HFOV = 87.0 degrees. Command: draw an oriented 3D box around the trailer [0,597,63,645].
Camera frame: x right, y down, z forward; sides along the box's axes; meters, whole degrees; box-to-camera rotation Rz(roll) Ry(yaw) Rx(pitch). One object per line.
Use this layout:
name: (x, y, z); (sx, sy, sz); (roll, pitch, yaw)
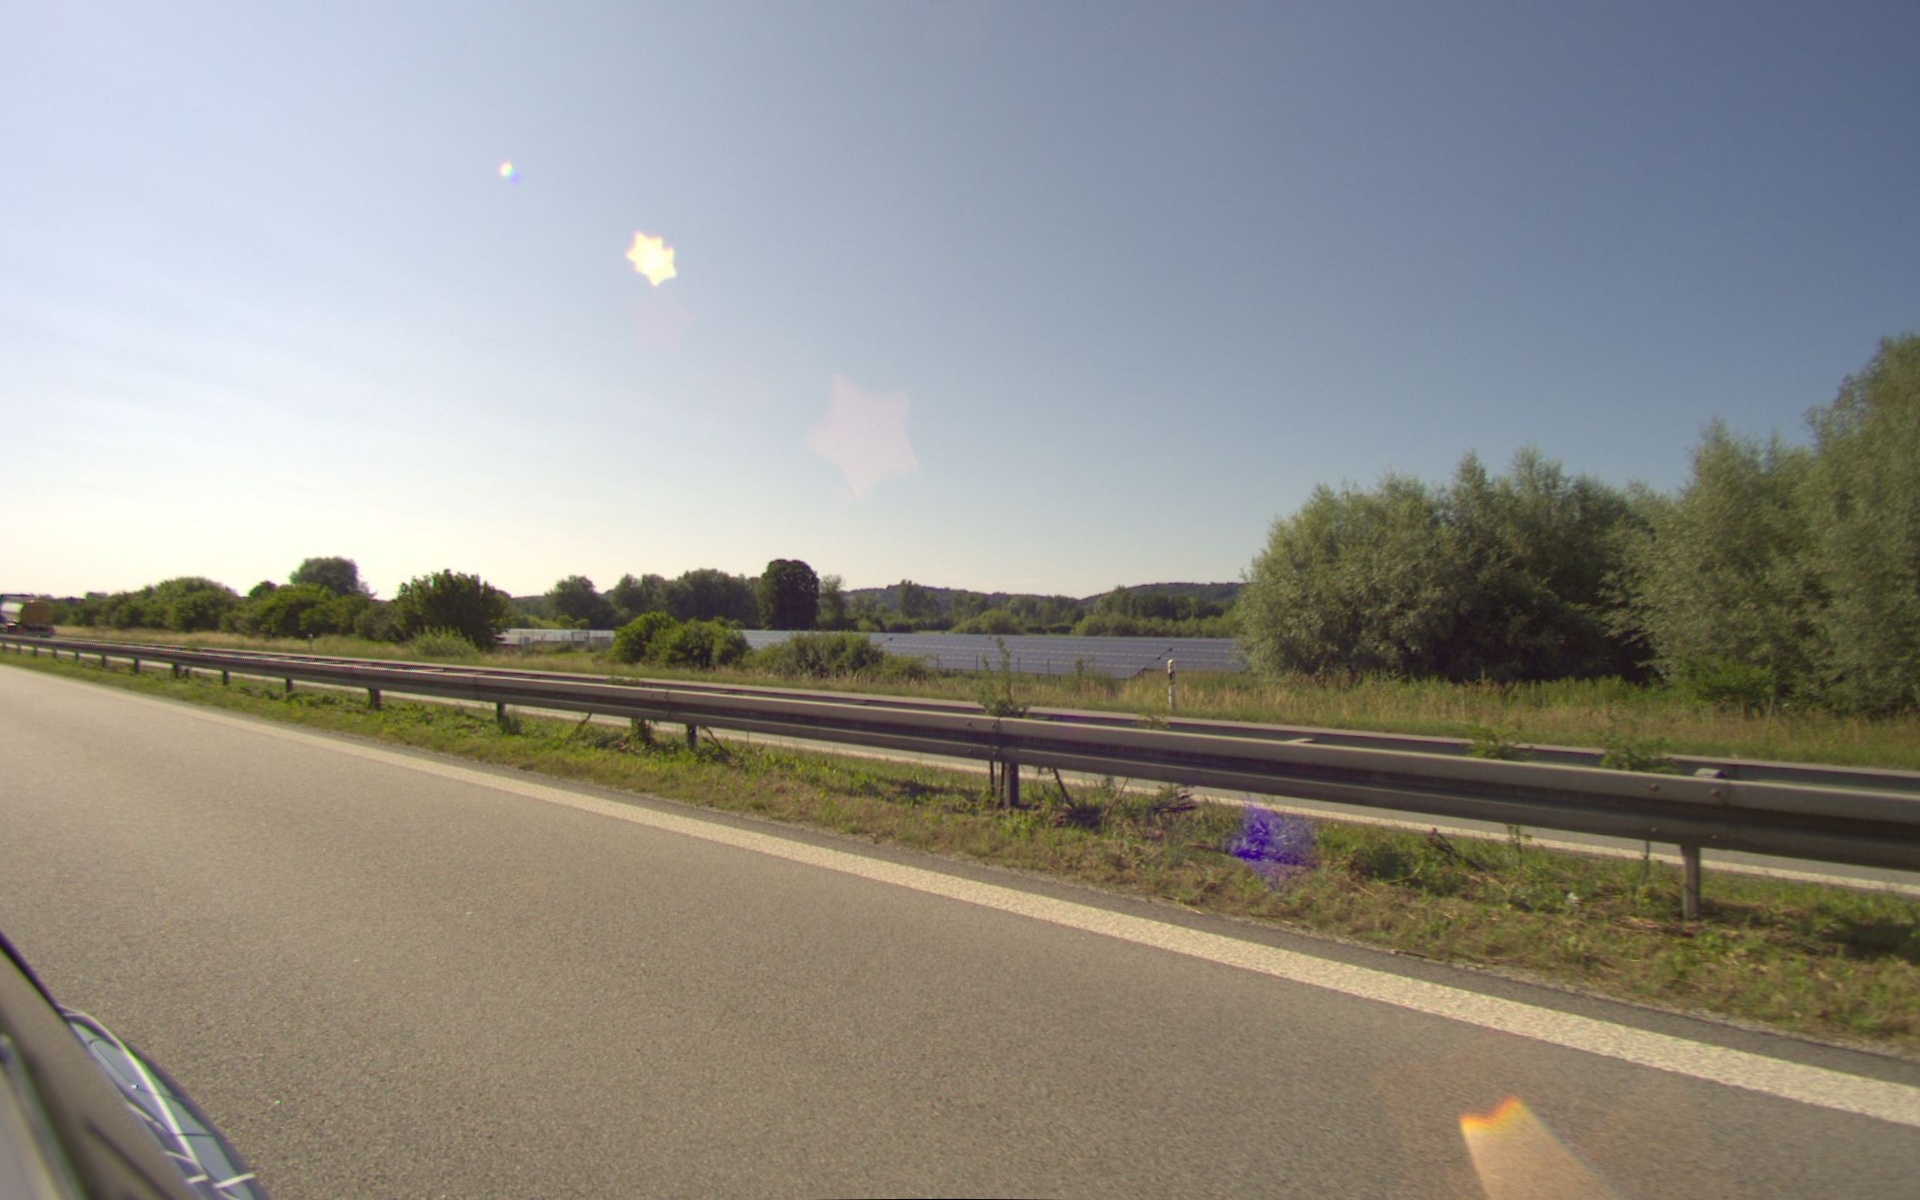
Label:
trailer: (-78.651, 1.752, 85.166); (12.411, 3.759, 2.949); (-1, -2, 40)

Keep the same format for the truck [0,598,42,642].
truck: (-83.332, 1.791, 89.114); (5.564, 3.760, 2.925); (-1, -2, 40)
